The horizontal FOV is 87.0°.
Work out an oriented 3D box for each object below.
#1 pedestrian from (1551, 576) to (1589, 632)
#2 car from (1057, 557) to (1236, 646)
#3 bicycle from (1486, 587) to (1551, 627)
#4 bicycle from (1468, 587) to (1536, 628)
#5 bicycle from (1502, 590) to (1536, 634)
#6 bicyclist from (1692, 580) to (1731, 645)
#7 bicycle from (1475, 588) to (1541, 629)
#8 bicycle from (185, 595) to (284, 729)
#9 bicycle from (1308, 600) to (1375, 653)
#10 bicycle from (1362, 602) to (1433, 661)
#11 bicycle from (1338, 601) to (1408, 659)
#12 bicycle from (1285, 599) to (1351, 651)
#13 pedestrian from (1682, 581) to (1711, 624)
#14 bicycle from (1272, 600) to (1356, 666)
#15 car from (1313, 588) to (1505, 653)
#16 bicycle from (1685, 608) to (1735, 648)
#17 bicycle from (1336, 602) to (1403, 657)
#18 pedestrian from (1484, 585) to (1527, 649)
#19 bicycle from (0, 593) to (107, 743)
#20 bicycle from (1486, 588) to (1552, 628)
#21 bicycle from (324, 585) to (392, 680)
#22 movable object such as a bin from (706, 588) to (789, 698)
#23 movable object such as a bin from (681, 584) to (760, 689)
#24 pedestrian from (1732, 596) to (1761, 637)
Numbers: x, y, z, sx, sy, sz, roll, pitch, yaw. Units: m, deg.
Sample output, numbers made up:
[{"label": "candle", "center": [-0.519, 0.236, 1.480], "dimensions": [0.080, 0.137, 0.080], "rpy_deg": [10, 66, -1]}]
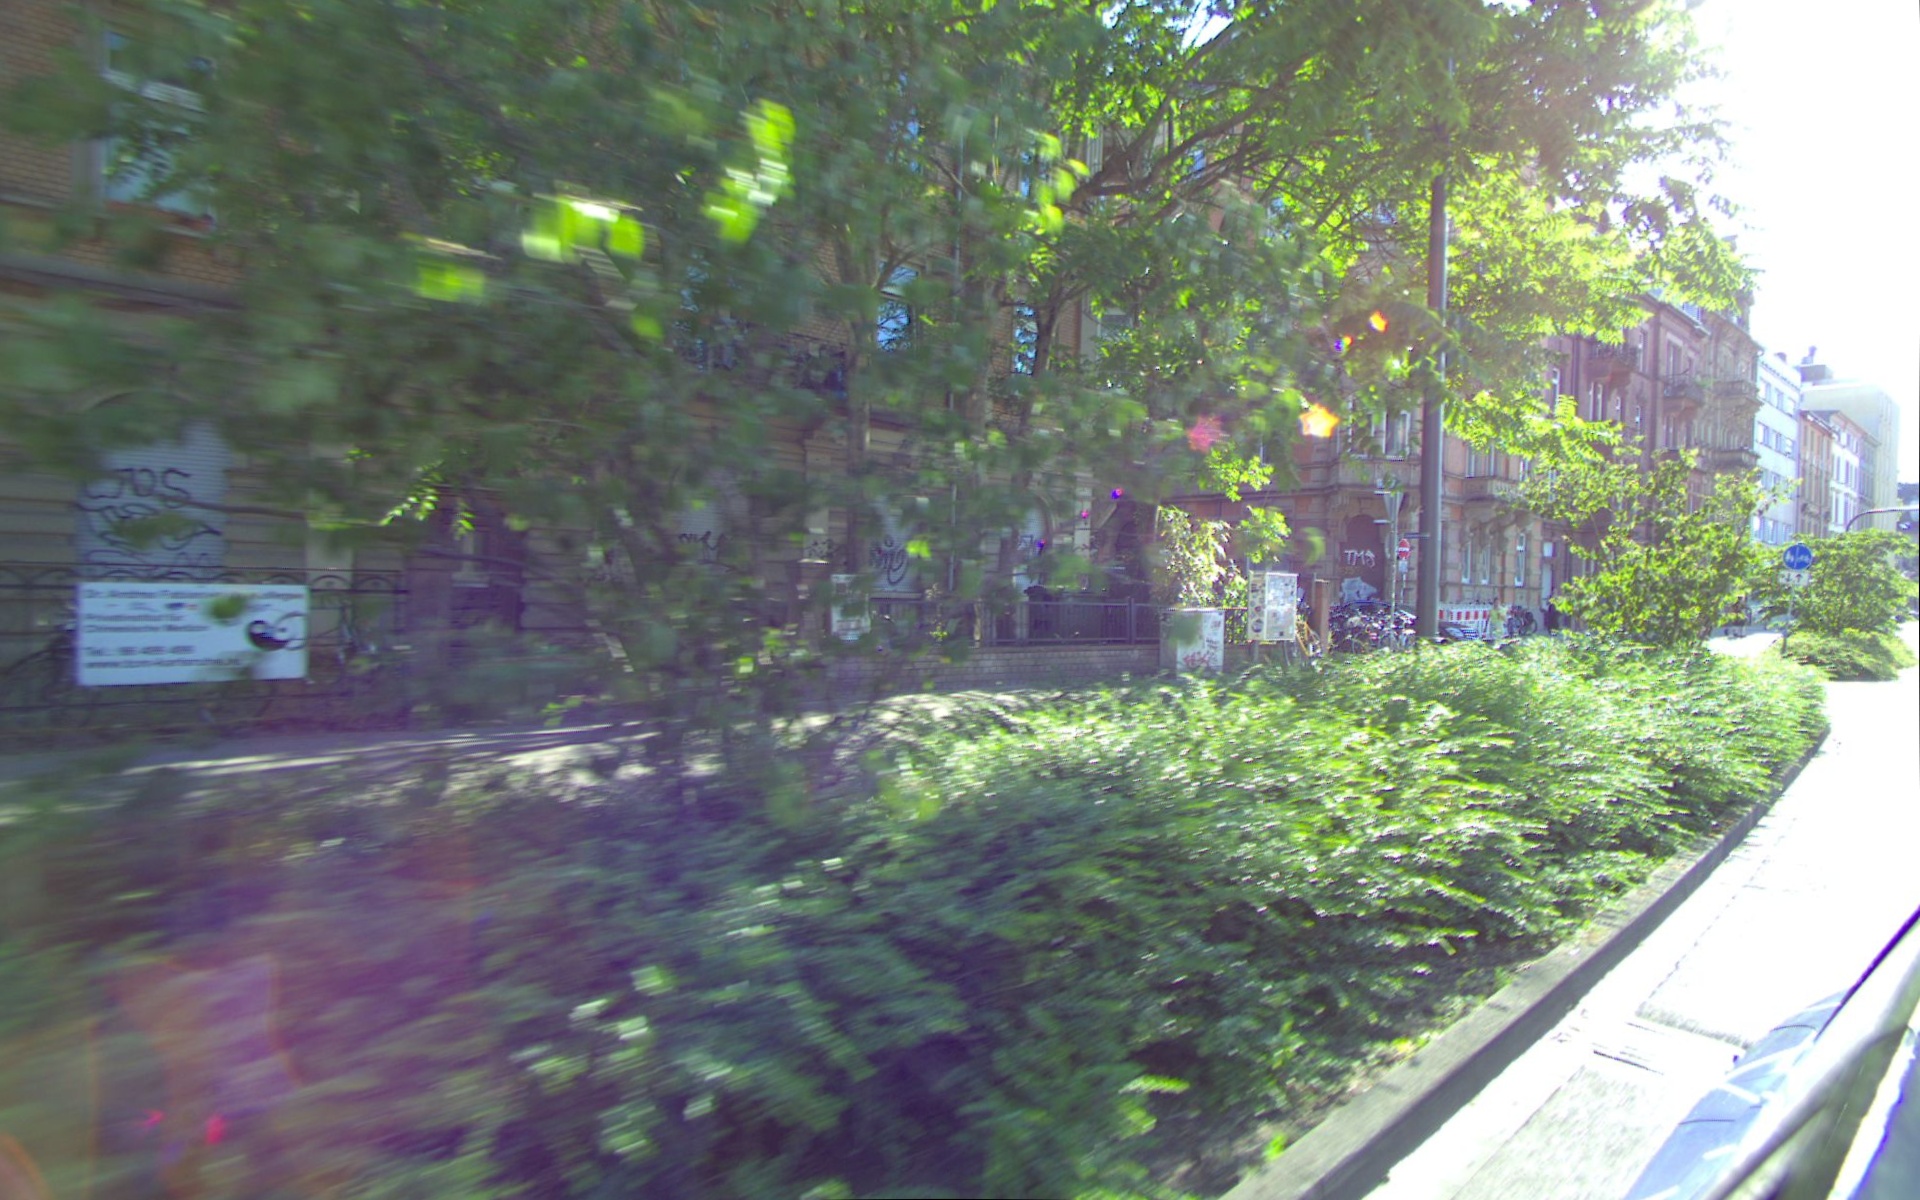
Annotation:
[{"label": "pedestrian", "center": [21.912, 0.144, 36.374], "dimensions": [1.117, 1.954, 0.824], "rpy_deg": [1, 1, -40]}, {"label": "car", "center": [4.909, 0.014, 27.228], "dimensions": [1.744, 2.151, 4.584], "rpy_deg": [4, -2, -41]}, {"label": "bicycle", "center": [19.131, 0.211, 34.700], "dimensions": [1.880, 1.254, 0.484], "rpy_deg": [3, 3, 38]}, {"label": "bicycle", "center": [17.917, 0.227, 33.481], "dimensions": [1.880, 1.254, 0.484], "rpy_deg": [3, 3, 38]}, {"label": "bicycle", "center": [16.888, 0.342, 30.547], "dimensions": [0.488, 1.254, 1.862], "rpy_deg": [3, 3, 40]}, {"label": "bicyclist", "center": [21.876, 0.340, 29.463], "dimensions": [1.034, 1.837, 0.642], "rpy_deg": [-1, 3, -41]}, {"label": "bicycle", "center": [18.333, 0.259, 33.883], "dimensions": [1.880, 1.254, 0.484], "rpy_deg": [3, 3, 38]}, {"label": "bicycle", "center": [-6.054, 0.476, 8.415], "dimensions": [0.529, 0.936, 1.657], "rpy_deg": [4, 0, -39]}, {"label": "bicycle", "center": [8.305, 0.590, 21.994], "dimensions": [1.788, 1.061, 0.519], "rpy_deg": [4, -1, -41]}, {"label": "bicycle", "center": [8.654, 0.636, 19.969], "dimensions": [1.788, 1.061, 0.519], "rpy_deg": [4, -1, -41]}, {"label": "bicycle", "center": [8.326, 0.613, 20.363], "dimensions": [1.788, 1.061, 0.519], "rpy_deg": [4, -1, -41]}, {"label": "bicycle", "center": [7.938, 0.564, 22.405], "dimensions": [1.788, 1.061, 0.519], "rpy_deg": [4, -1, -41]}, {"label": "pedestrian", "center": [34.444, 0.098, 47.327], "dimensions": [1.117, 1.954, 0.824], "rpy_deg": [1, 1, -41]}, {"label": "bicycle", "center": [5.887, 0.564, 16.796], "dimensions": [1.692, 1.001, 0.526], "rpy_deg": [4, -1, -42]}, {"label": "car", "center": [11.780, 0.501, 26.785], "dimensions": [1.780, 1.433, 4.260], "rpy_deg": [4, -1, -40]}, {"label": "bicycle", "center": [21.811, 0.791, 29.413], "dimensions": [2.319, 1.060, 0.642], "rpy_deg": [-1, 3, -41]}, {"label": "bicycle", "center": [8.718, 0.642, 21.502], "dimensions": [1.788, 1.061, 0.519], "rpy_deg": [4, -1, -41]}, {"label": "pedestrian", "center": [13.738, 0.416, 25.510], "dimensions": [0.649, 1.553, 0.703], "rpy_deg": [1, 1, 1]}, {"label": "bicycle", "center": [-6.739, 0.461, 7.509], "dimensions": [0.529, 0.936, 1.657], "rpy_deg": [4, 0, -39]}, {"label": "bicycle", "center": [18.866, 0.251, 34.191], "dimensions": [1.880, 1.254, 0.484], "rpy_deg": [3, 3, 38]}, {"label": "bicycle", "center": [-6.828, 0.343, 11.446], "dimensions": [0.434, 0.936, 1.736], "rpy_deg": [4, 0, -36]}, {"label": "movable object such as a bin", "center": [-2.286, 0.438, 10.876], "dimensions": [0.640, 1.072, 0.598], "rpy_deg": [-2, 7, -40]}, {"label": "movable object such as a bin", "center": [-2.689, 0.390, 11.352], "dimensions": [0.640, 1.072, 0.598], "rpy_deg": [-2, 7, -40]}, {"label": "pedestrian", "center": [32.673, 0.683, 42.043], "dimensions": [1.117, 1.676, 0.704], "rpy_deg": [1, 1, -41]}]
